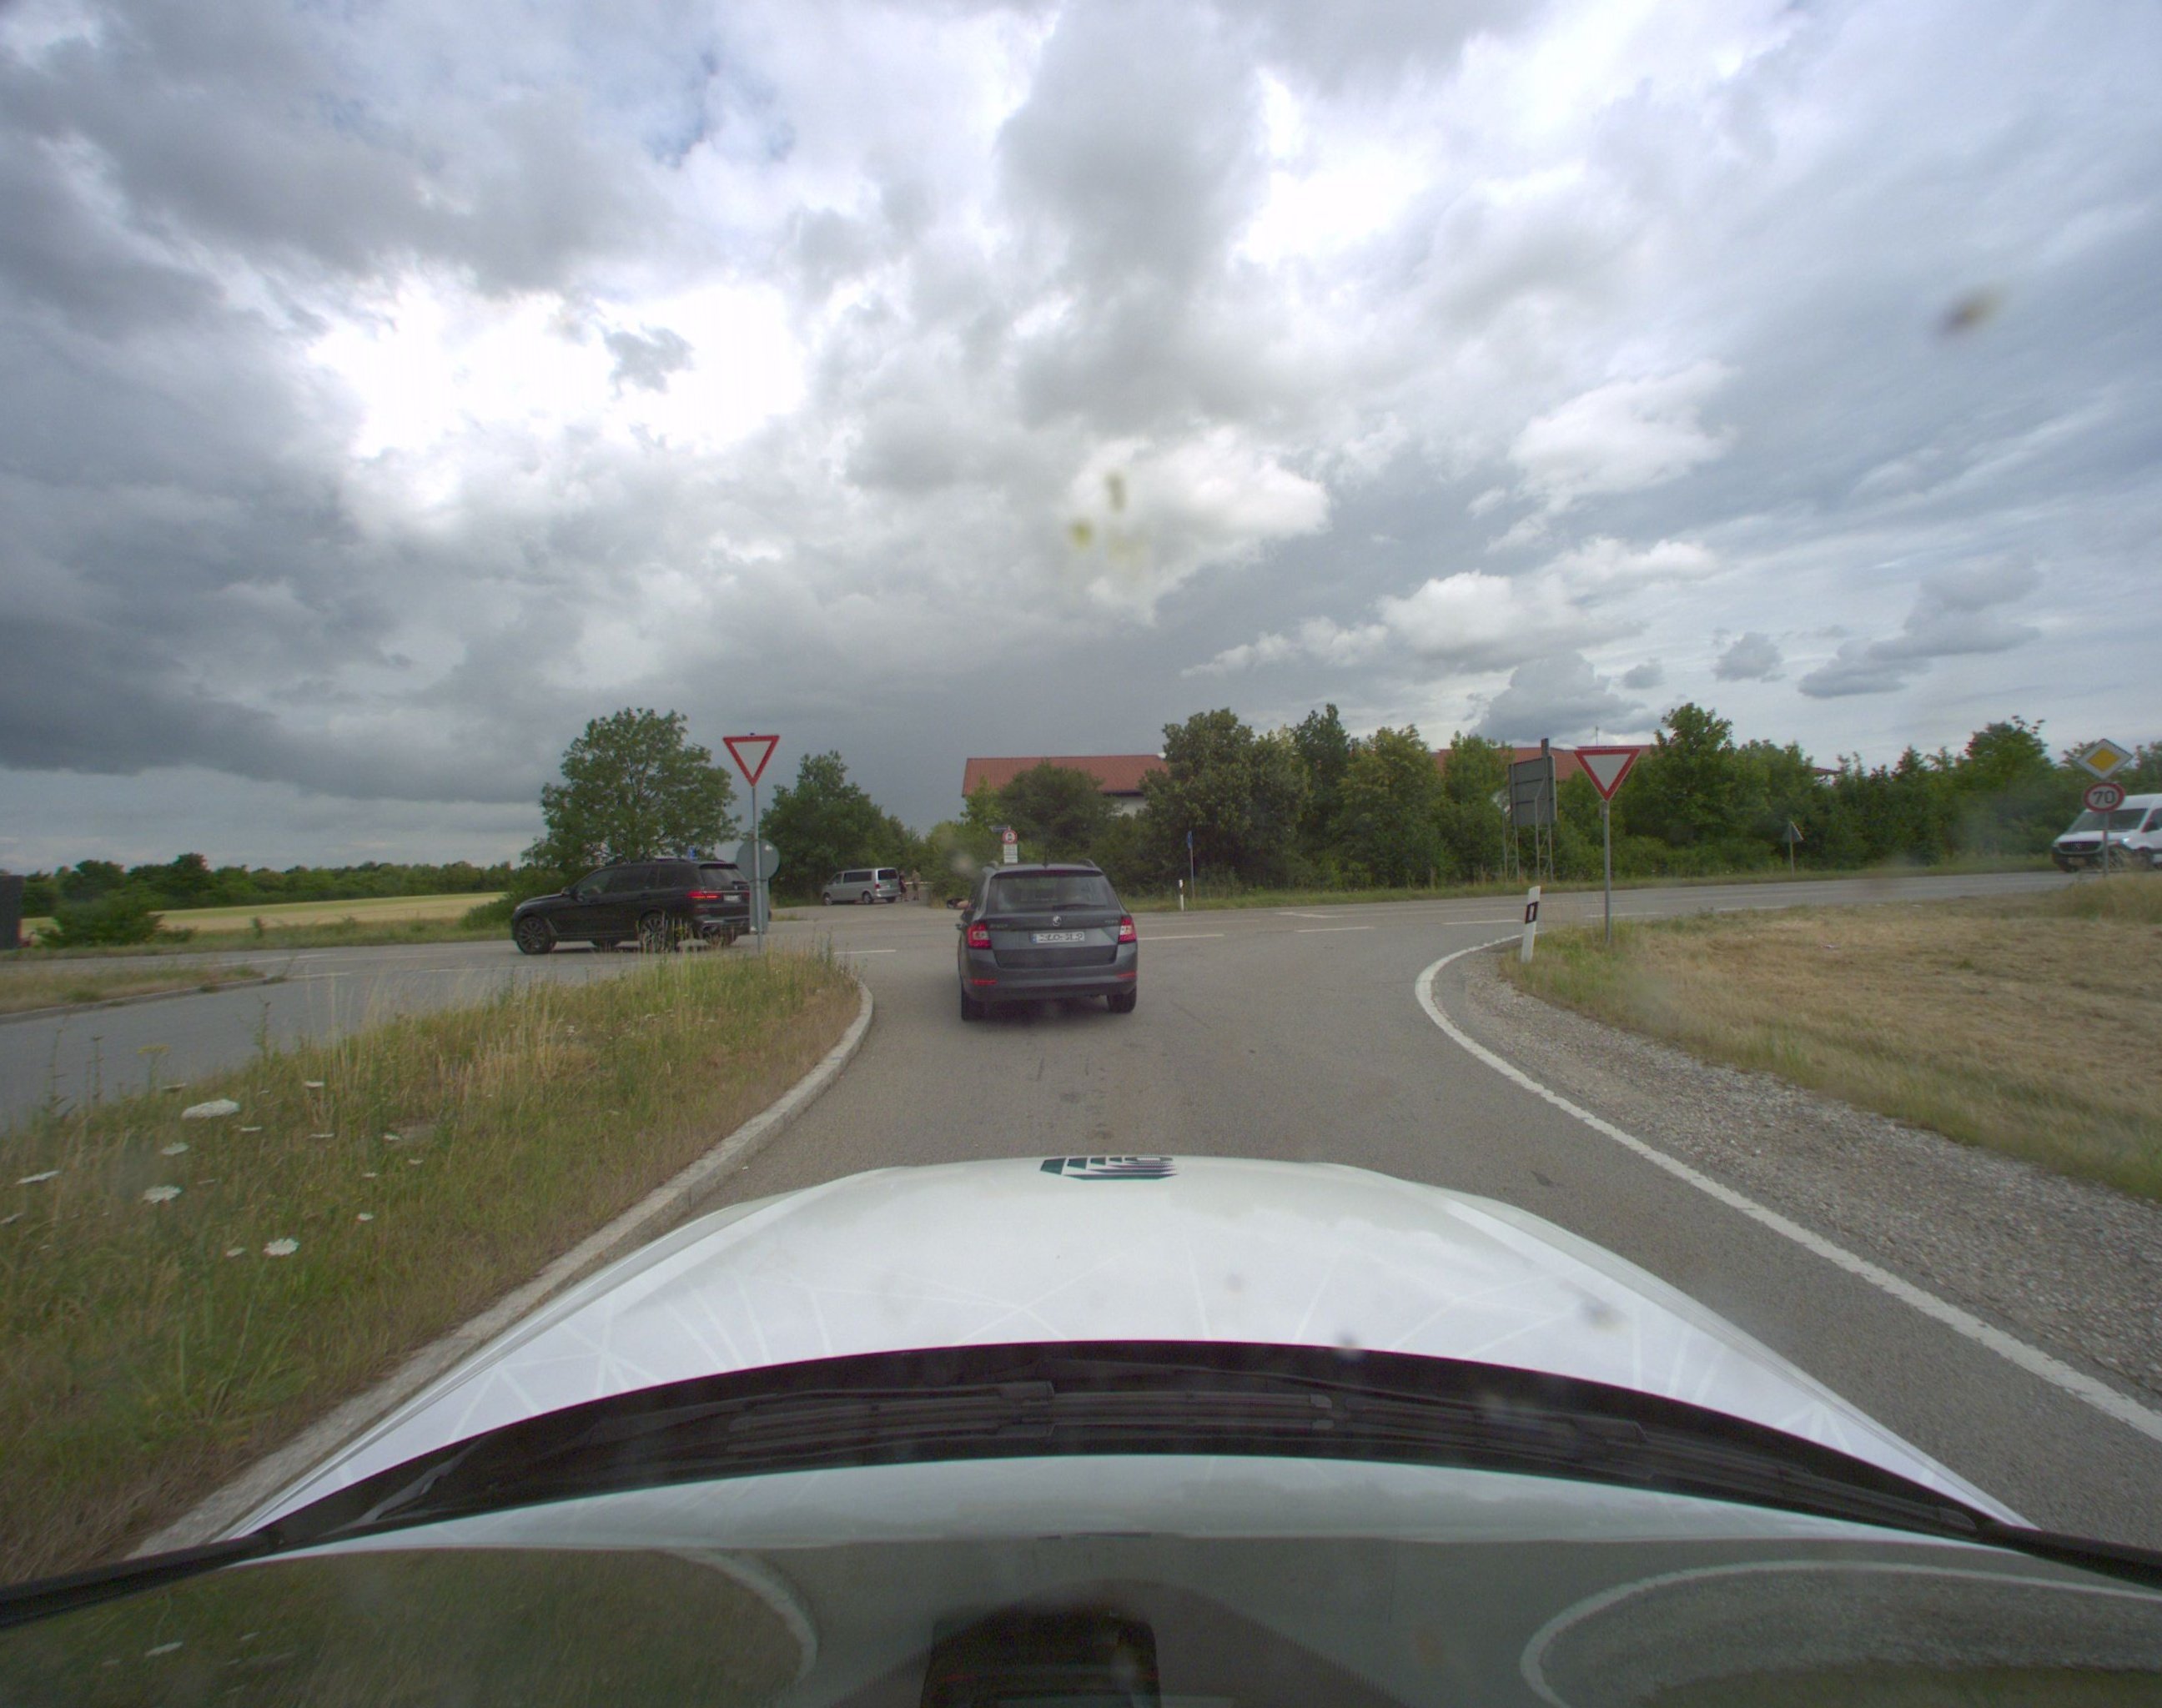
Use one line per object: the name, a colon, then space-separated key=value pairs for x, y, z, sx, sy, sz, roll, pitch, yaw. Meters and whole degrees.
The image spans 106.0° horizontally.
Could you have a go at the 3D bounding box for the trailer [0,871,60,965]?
trailer: x=-28.739 y=1.678 z=19.781 sx=4.380 sy=2.292 sz=2.410 roll=-3 pitch=-2 yaw=-9

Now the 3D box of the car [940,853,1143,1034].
car: x=-0.494 y=0.766 z=8.692 sx=1.674 sy=1.463 sz=3.700 roll=-1 pitch=-1 yaw=-5

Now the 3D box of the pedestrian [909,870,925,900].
pedestrian: x=-9.557 y=1.815 z=47.486 sx=0.578 sy=1.682 sz=0.569 roll=-3 pitch=0 yaw=20

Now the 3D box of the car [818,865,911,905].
car: x=-12.293 y=1.771 z=46.257 sx=4.851 sy=2.013 sz=2.357 roll=-3 pitch=1 yaw=33

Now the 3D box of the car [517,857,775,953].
car: x=-8.941 y=1.043 z=16.805 sx=4.591 sy=1.774 sz=2.009 roll=-2 pitch=-1 yaw=18

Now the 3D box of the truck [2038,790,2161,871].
truck: x=36.737 y=-0.836 z=27.959 sx=5.990 sy=2.576 sz=1.995 roll=-2 pitch=-2 yaw=-7

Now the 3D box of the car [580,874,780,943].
car: x=-10.575 y=1.415 z=21.797 sx=4.284 sy=1.487 sz=1.995 roll=-3 pitch=-1 yaw=-8

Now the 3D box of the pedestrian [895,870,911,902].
pedestrian: x=-10.002 y=1.803 z=45.761 sx=0.523 sy=1.725 sz=0.646 roll=-3 pitch=0 yaw=32
